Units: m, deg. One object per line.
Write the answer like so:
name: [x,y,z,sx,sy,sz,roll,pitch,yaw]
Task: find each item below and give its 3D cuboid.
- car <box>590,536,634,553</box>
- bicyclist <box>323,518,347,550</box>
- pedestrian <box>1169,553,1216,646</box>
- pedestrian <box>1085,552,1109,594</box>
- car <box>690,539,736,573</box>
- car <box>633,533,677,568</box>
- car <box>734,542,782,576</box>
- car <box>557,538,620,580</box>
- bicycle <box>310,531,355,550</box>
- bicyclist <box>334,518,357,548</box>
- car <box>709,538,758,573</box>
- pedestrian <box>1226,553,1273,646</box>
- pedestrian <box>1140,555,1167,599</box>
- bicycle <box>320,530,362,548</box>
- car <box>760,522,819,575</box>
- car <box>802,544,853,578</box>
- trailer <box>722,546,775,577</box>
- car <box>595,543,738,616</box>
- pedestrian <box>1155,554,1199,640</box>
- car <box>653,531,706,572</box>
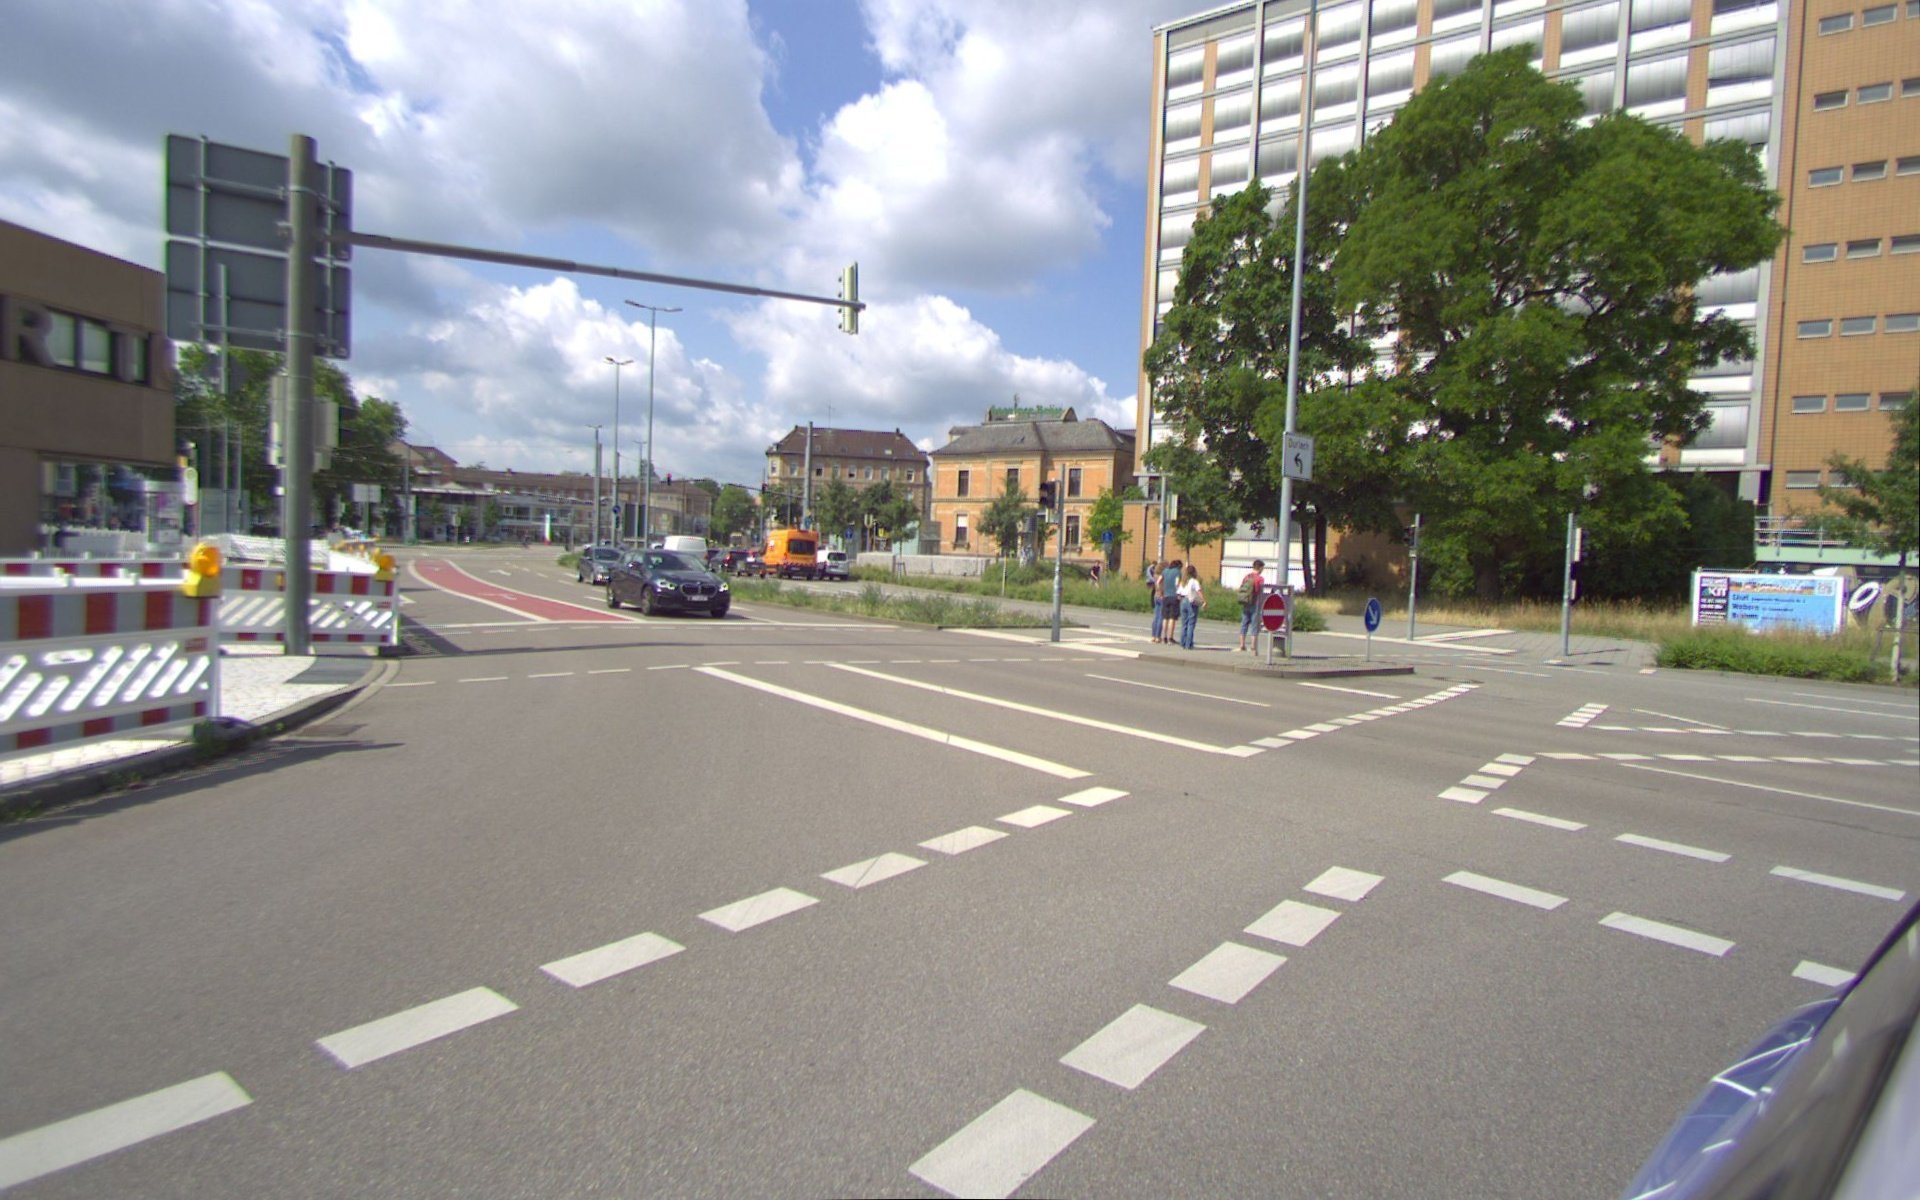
car: [-35.875,-5.718,104.477,1.725,1.660,3.935,5,4,45]
bicyclist: [-39.213,-4.132,63.515,1.198,1.932,0.860,1,2,-28]
pedestrian: [4.535,-0.016,19.738,0.517,1.754,0.623,1,3,-39]
pedestrian: [6.096,-1.212,45.102,0.774,1.805,0.668,1,2,-22]
car: [-15.472,-2.784,63.226,1.956,1.962,4.650,1,3,-24]
car: [-18.534,-3.025,61.328,1.956,1.962,4.650,1,3,-24]
car: [-12.977,-2.655,64.796,1.956,1.962,4.650,1,3,-24]
car: [-15.383,-1.711,41.806,1.634,1.498,4.067,4,1,-31]
bicycle: [-39.329,-3.708,63.487,2.338,1.079,0.860,1,3,-28]
bicyclist: [-41.147,-4.503,67.755,1.198,1.932,0.836,1,2,-28]
car: [-12.777,-2.537,57.006,1.958,1.848,4.010,1,3,-23]
pedestrian: [5.605,-0.015,19.603,0.517,1.754,0.623,1,3,-39]
pedestrian: [8.245,-0.974,43.132,0.774,1.805,0.668,1,3,-30]
bicycle: [-41.361,-4.077,67.661,2.338,1.079,0.844,1,3,-28]
car: [-9.606,-2.896,56.783,2.092,2.814,4.650,1,3,-24]
car: [-7.862,-2.327,59.814,1.958,1.816,4.010,1,3,-23]
trailer: [-11.242,-2.061,53.545,1.958,1.495,4.010,1,3,-23]
car: [-6.687,-0.505,22.790,1.764,1.405,4.229,1,3,-36]
pedestrian: [4.455,-0.064,20.752,0.517,1.704,0.623,1,3,-39]
car: [-14.962,-2.612,53.833,1.970,1.990,4.650,1,3,-24]
